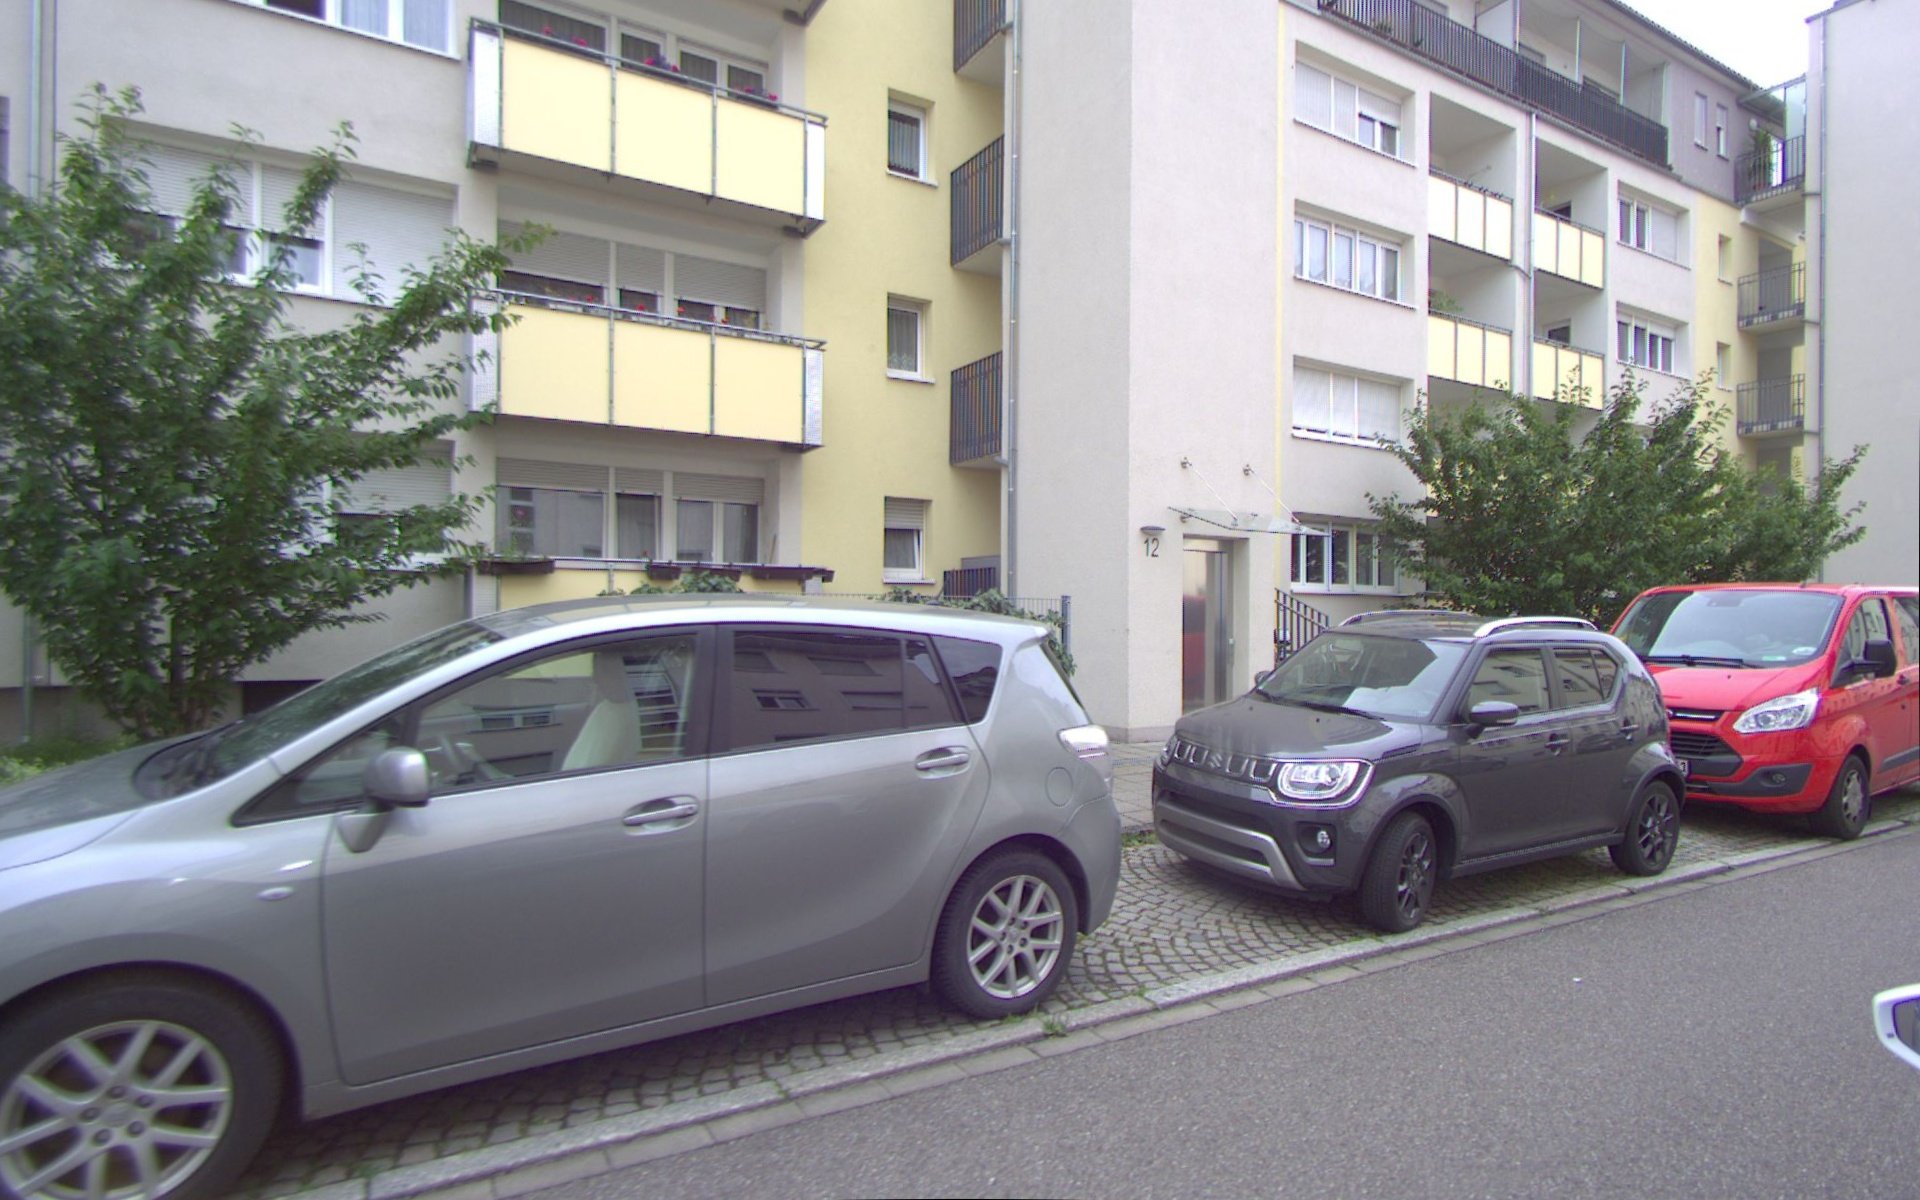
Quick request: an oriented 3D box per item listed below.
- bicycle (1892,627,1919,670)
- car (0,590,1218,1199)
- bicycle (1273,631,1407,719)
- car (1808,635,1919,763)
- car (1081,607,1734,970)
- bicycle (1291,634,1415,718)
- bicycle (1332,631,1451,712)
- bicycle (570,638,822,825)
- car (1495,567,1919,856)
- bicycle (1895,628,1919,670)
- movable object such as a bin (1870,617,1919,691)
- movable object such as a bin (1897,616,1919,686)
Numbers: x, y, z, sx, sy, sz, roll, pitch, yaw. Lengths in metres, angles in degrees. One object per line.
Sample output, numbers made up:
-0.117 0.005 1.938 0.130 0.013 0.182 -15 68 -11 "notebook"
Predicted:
26.310 1.311 26.842 0.618 1.157 2.006 1 -1 -39 "bicycle"
-1.388 0.803 3.869 4.809 1.591 1.824 1 1 -33 "car"
5.436 1.039 14.482 0.598 1.133 1.825 1 0 -31 "bicycle"
12.358 1.147 12.231 4.312 1.341 1.860 1 0 -32 "car"
2.886 0.881 6.284 4.006 1.591 1.712 1 1 -30 "car"
5.862 1.100 15.082 0.563 1.133 1.827 0 -1 -28 "bicycle"
6.665 1.076 15.622 0.562 1.133 1.830 0 0 -23 "bicycle"
-1.888 0.891 7.334 1.712 1.207 0.548 1 -2 -38 "bicycle"
7.260 0.770 9.088 4.868 1.980 2.139 1 1 -33 "car"
26.780 1.341 27.263 0.618 1.157 2.006 1 -1 -39 "bicycle"
19.285 1.074 20.388 1.271 1.448 0.800 1 0 -28 "movable object such as a bin"
20.430 1.067 21.016 1.271 1.448 0.801 1 0 -27 "movable object such as a bin"
